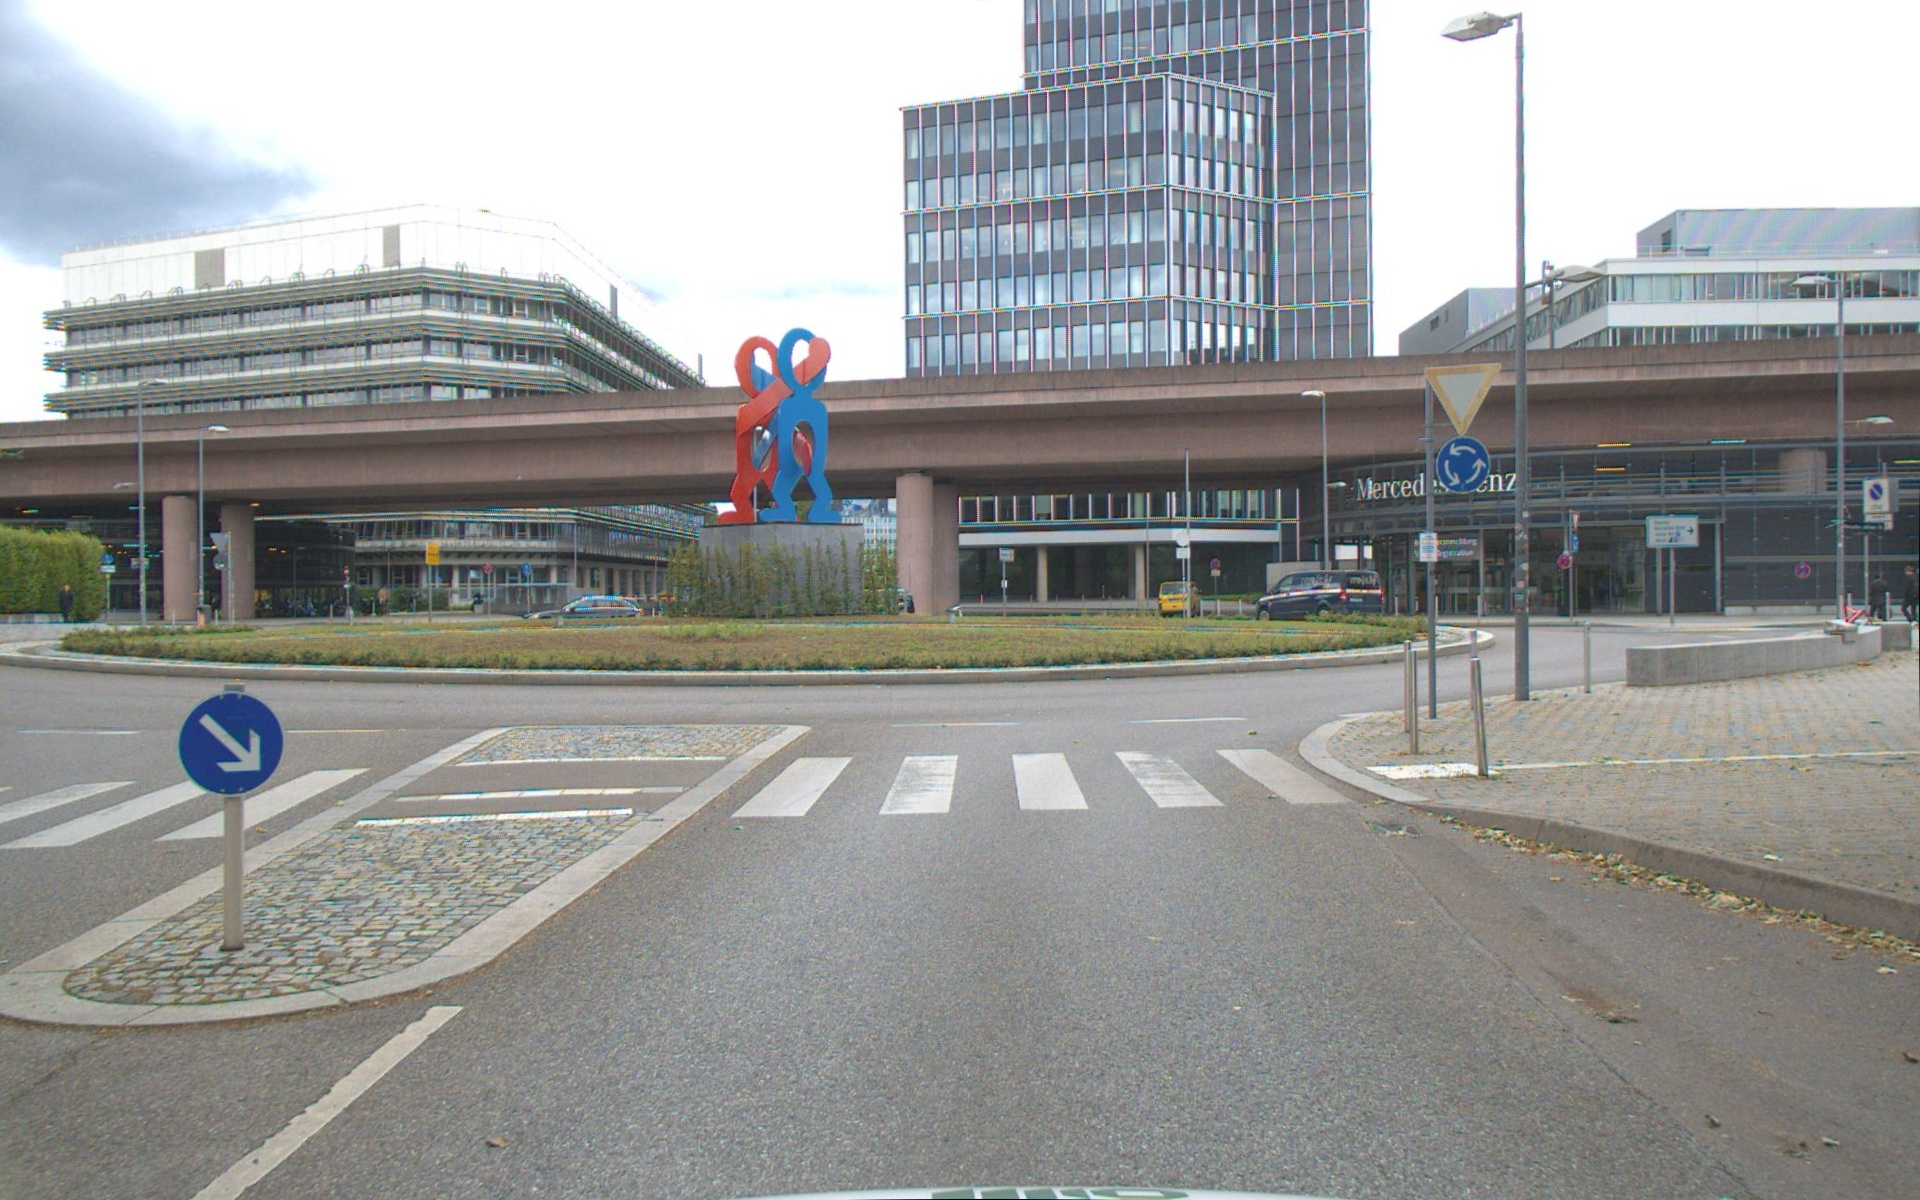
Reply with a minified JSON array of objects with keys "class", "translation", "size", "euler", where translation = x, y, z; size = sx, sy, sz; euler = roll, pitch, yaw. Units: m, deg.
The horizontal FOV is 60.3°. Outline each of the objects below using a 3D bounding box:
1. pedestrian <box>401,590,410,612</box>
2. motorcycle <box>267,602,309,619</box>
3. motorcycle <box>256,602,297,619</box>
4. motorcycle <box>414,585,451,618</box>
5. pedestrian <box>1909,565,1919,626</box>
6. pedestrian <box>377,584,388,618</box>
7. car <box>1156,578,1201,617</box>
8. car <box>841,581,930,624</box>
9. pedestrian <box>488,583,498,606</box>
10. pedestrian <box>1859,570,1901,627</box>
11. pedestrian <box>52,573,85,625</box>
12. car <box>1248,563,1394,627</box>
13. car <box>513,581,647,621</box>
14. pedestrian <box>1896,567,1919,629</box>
[{"class":"pedestrian","translation":[-51.407,0.079,153.308],"size":[0.766,2.049,0.665],"euler":[0,0,-26]},{"class":"motorcycle","translation":[-46.697,0.725,114.934],"size":[2.597,1.132,1.040],"euler":[0,0,18]},{"class":"motorcycle","translation":[-46.975,0.722,113.666],"size":[2.597,1.132,1.040],"euler":[0,0,18]},{"class":"motorcycle","translation":[-20.781,0.073,65.220],"size":[0.654,1.273,1.886],"euler":[0,0,8]},{"class":"pedestrian","translation":[28.105,-0.123,48.040],"size":[0.814,1.771,0.690],"euler":[0,0,21]},{"class":"pedestrian","translation":[-35.446,0.069,101.452],"size":[0.578,2.049,0.597],"euler":[0,0,-14]},{"class":"car","translation":[11.889,-0.134,89.803],"size":[1.951,2.049,4.003],"euler":[0,0,15]},{"class":"car","translation":[-3.187,0.093,71.543],"size":[1.957,1.803,3.991],"euler":[0,0,31]},{"class":"pedestrian","translation":[-43.023,-0.496,152.399],"size":[0.760,2.049,0.670],"euler":[-1,0,-2]},{"class":"pedestrian","translation":[26.269,-0.042,47.229],"size":[0.813,1.598,0.690],"euler":[0,0,3]},{"class":"pedestrian","translation":[-35.882,-0.042,66.557],"size":[1.025,2.049,0.597],"euler":[0,0,-14]},{"class":"car","translation":[12.119,-0.166,55.834],"size":[2.252,2.049,4.735],"euler":[0,0,-30]},{"class":"car","translation":[-14.341,0.050,62.433],"size":[4.837,1.486,1.992],"euler":[0,0,-16]},{"class":"pedestrian","translation":[27.377,-0.056,47.503],"size":[0.814,1.771,0.690],"euler":[0,0,25]}]
